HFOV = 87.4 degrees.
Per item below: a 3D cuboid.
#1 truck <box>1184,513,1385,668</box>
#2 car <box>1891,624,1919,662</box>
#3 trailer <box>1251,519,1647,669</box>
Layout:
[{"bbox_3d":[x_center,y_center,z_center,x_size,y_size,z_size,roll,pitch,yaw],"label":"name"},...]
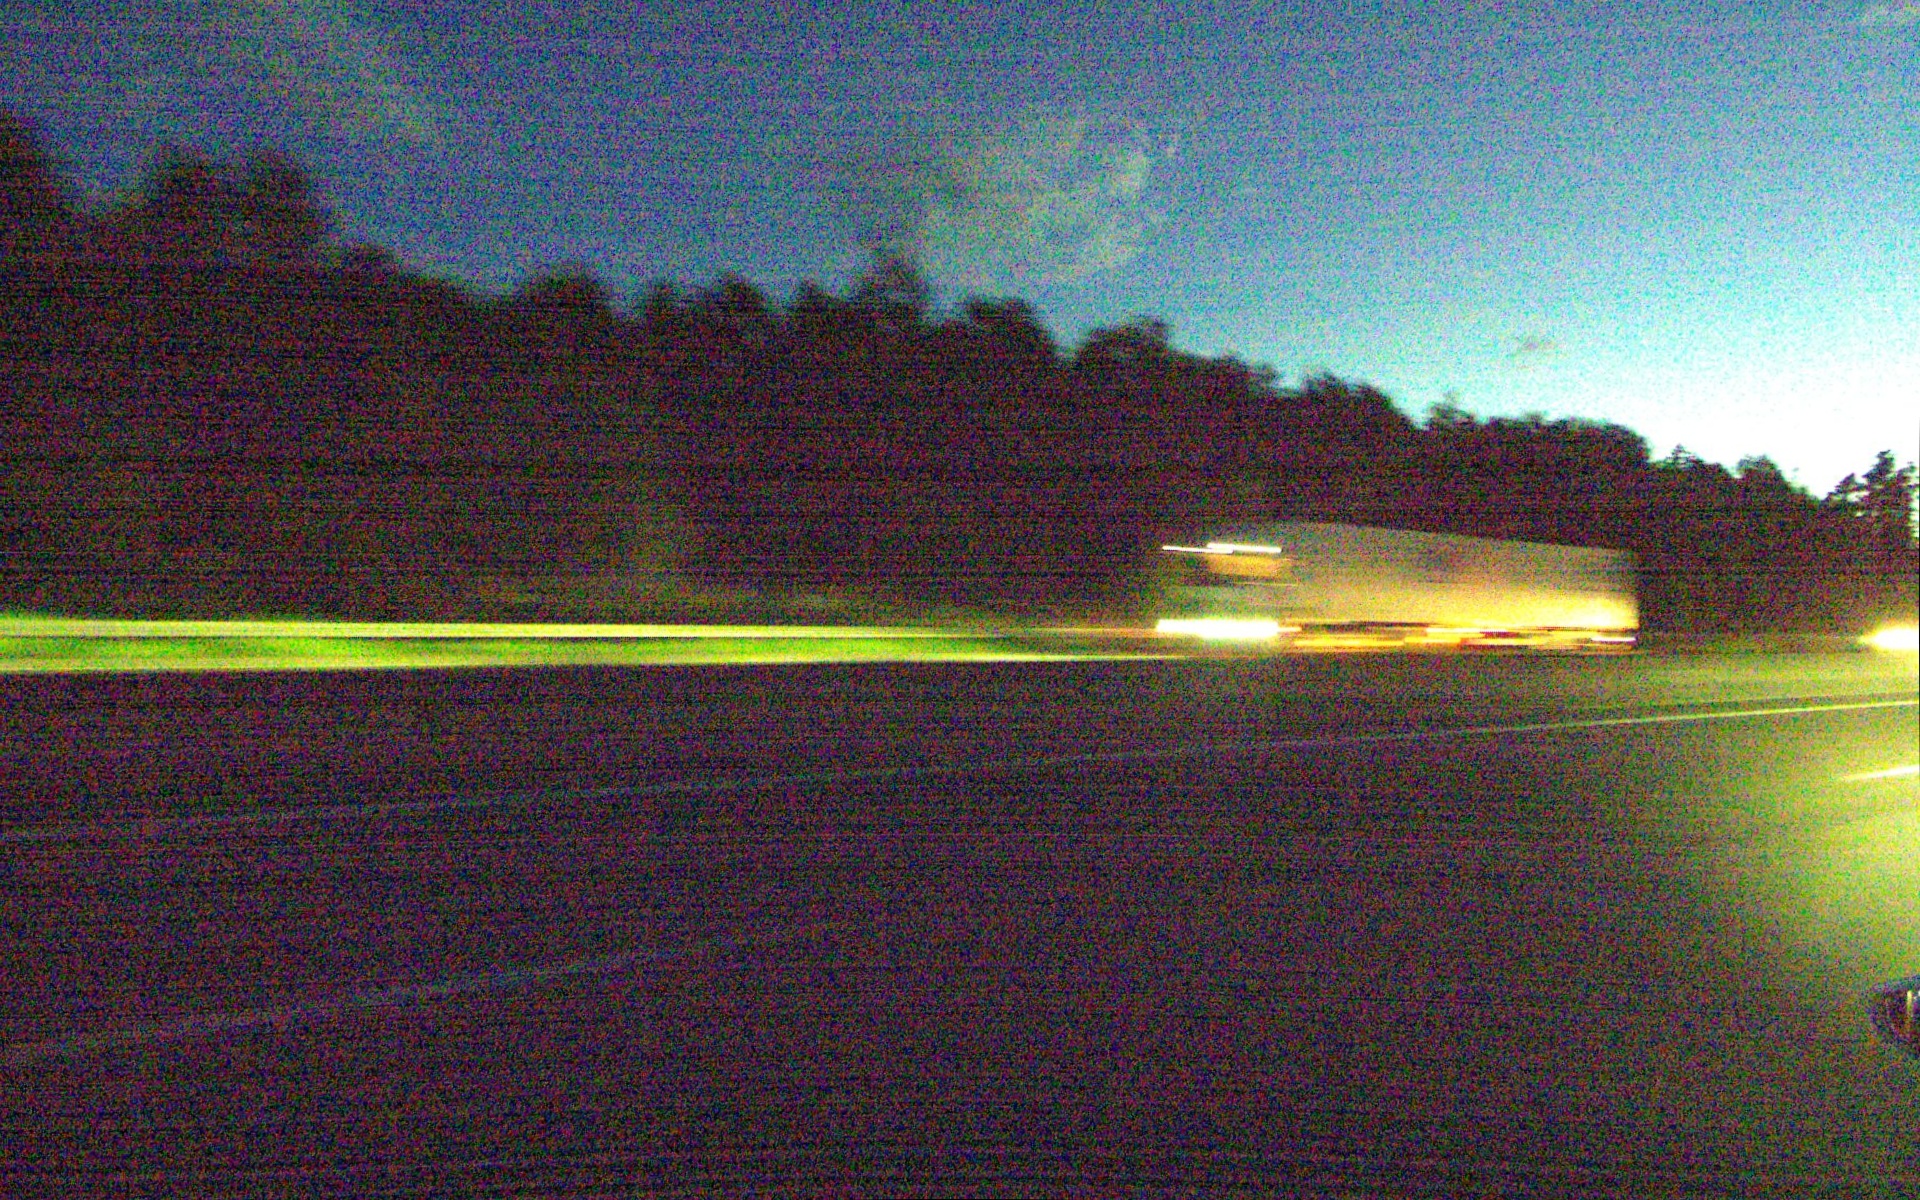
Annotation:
[{"bbox_3d":[9.748,-0.172,30.150,5.352,4.254,2.703,2,-1,-28],"label":"truck"},{"bbox_3d":[43.067,1.912,43.992,4.527,1.600,1.986,2,-1,-28],"label":"car"},{"bbox_3d":[17.243,0.111,34.230,17.040,4.273,2.677,2,-1,-28],"label":"trailer"}]
